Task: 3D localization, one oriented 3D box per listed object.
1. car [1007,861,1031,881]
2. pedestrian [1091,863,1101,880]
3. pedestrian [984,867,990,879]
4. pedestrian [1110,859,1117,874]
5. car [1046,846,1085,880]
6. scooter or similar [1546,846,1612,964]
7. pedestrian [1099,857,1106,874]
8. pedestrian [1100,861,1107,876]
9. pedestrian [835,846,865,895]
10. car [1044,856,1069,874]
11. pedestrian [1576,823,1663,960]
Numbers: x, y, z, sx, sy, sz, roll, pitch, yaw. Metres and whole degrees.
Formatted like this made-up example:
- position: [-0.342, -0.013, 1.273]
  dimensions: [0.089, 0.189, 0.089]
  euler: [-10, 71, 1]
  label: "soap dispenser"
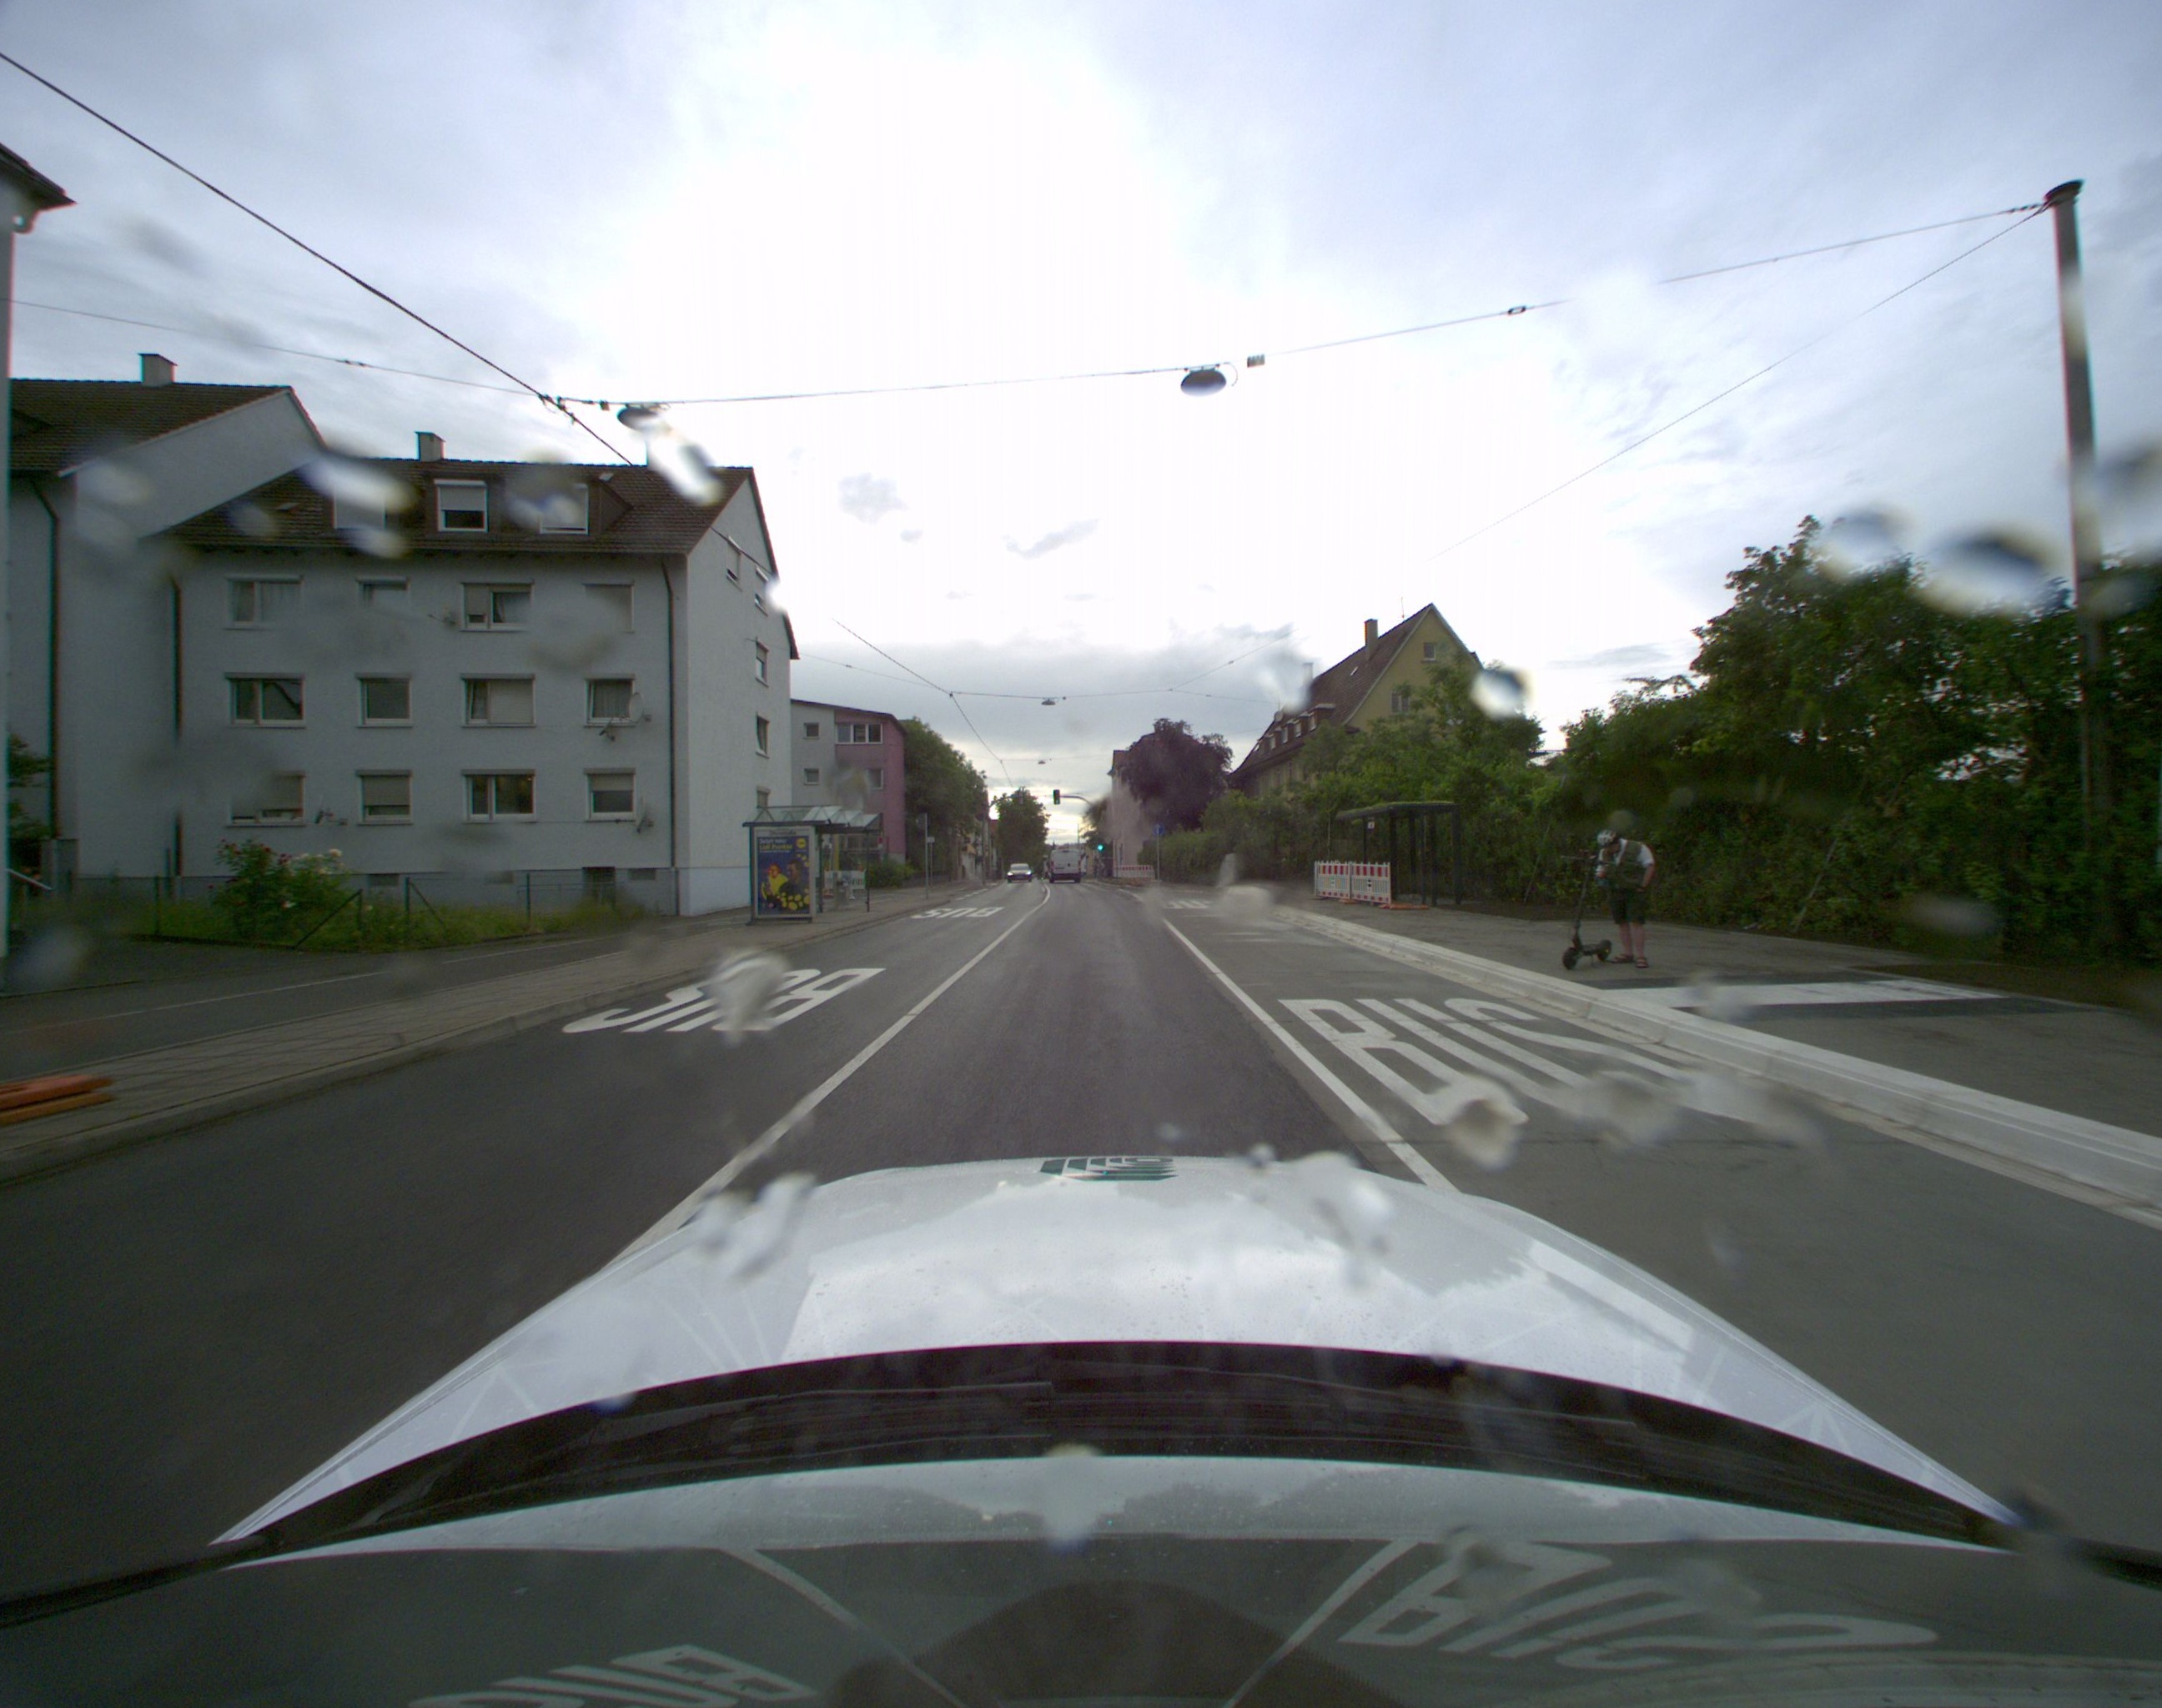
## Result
- position: [-4.884, 1.278, 63.728]
  dimensions: [1.780, 1.452, 4.382]
  euler: [-1, 0, -5]
  label: "car"
- position: [1.660, 1.906, 88.360]
  dimensions: [0.639, 1.710, 0.741]
  euler: [-2, -2, -37]
  label: "pedestrian"
- position: [-13.949, 2.840, 120.490]
  dimensions: [0.814, 1.680, 0.991]
  euler: [0, -3, -6]
  label: "pedestrian"
- position: [3.909, 1.543, 98.372]
  dimensions: [0.642, 1.832, 0.744]
  euler: [-3, -2, 10]
  label: "pedestrian"
- position: [-1.164, 0.640, 56.783]
  dimensions: [2.343, 2.160, 4.767]
  euler: [-1, -1, -5]
  label: "car"
- position: [5.904, 0.573, 9.632]
  dimensions: [1.249, 1.315, 0.229]
  euler: [-1, -1, -39]
  label: "scooter or similar"
- position: [2.380, 1.247, 89.395]
  dimensions: [0.482, 1.875, 0.636]
  euler: [-4, -2, 28]
  label: "pedestrian"
- position: [2.563, 1.669, 92.667]
  dimensions: [0.660, 1.741, 0.826]
  euler: [-2, -2, -9]
  label: "pedestrian"
- position: [-8.918, 0.627, 31.522]
  dimensions: [0.859, 1.882, 1.043]
  euler: [-1, 0, -2]
  label: "pedestrian"
- position: [-2.637, 1.194, 87.337]
  dimensions: [2.343, 1.728, 4.767]
  euler: [-1, -1, -5]
  label: "car"
- position: [6.438, 0.423, 9.730]
  dimensions: [0.924, 1.547, 0.539]
  euler: [-1, -1, -36]
  label: "pedestrian"
